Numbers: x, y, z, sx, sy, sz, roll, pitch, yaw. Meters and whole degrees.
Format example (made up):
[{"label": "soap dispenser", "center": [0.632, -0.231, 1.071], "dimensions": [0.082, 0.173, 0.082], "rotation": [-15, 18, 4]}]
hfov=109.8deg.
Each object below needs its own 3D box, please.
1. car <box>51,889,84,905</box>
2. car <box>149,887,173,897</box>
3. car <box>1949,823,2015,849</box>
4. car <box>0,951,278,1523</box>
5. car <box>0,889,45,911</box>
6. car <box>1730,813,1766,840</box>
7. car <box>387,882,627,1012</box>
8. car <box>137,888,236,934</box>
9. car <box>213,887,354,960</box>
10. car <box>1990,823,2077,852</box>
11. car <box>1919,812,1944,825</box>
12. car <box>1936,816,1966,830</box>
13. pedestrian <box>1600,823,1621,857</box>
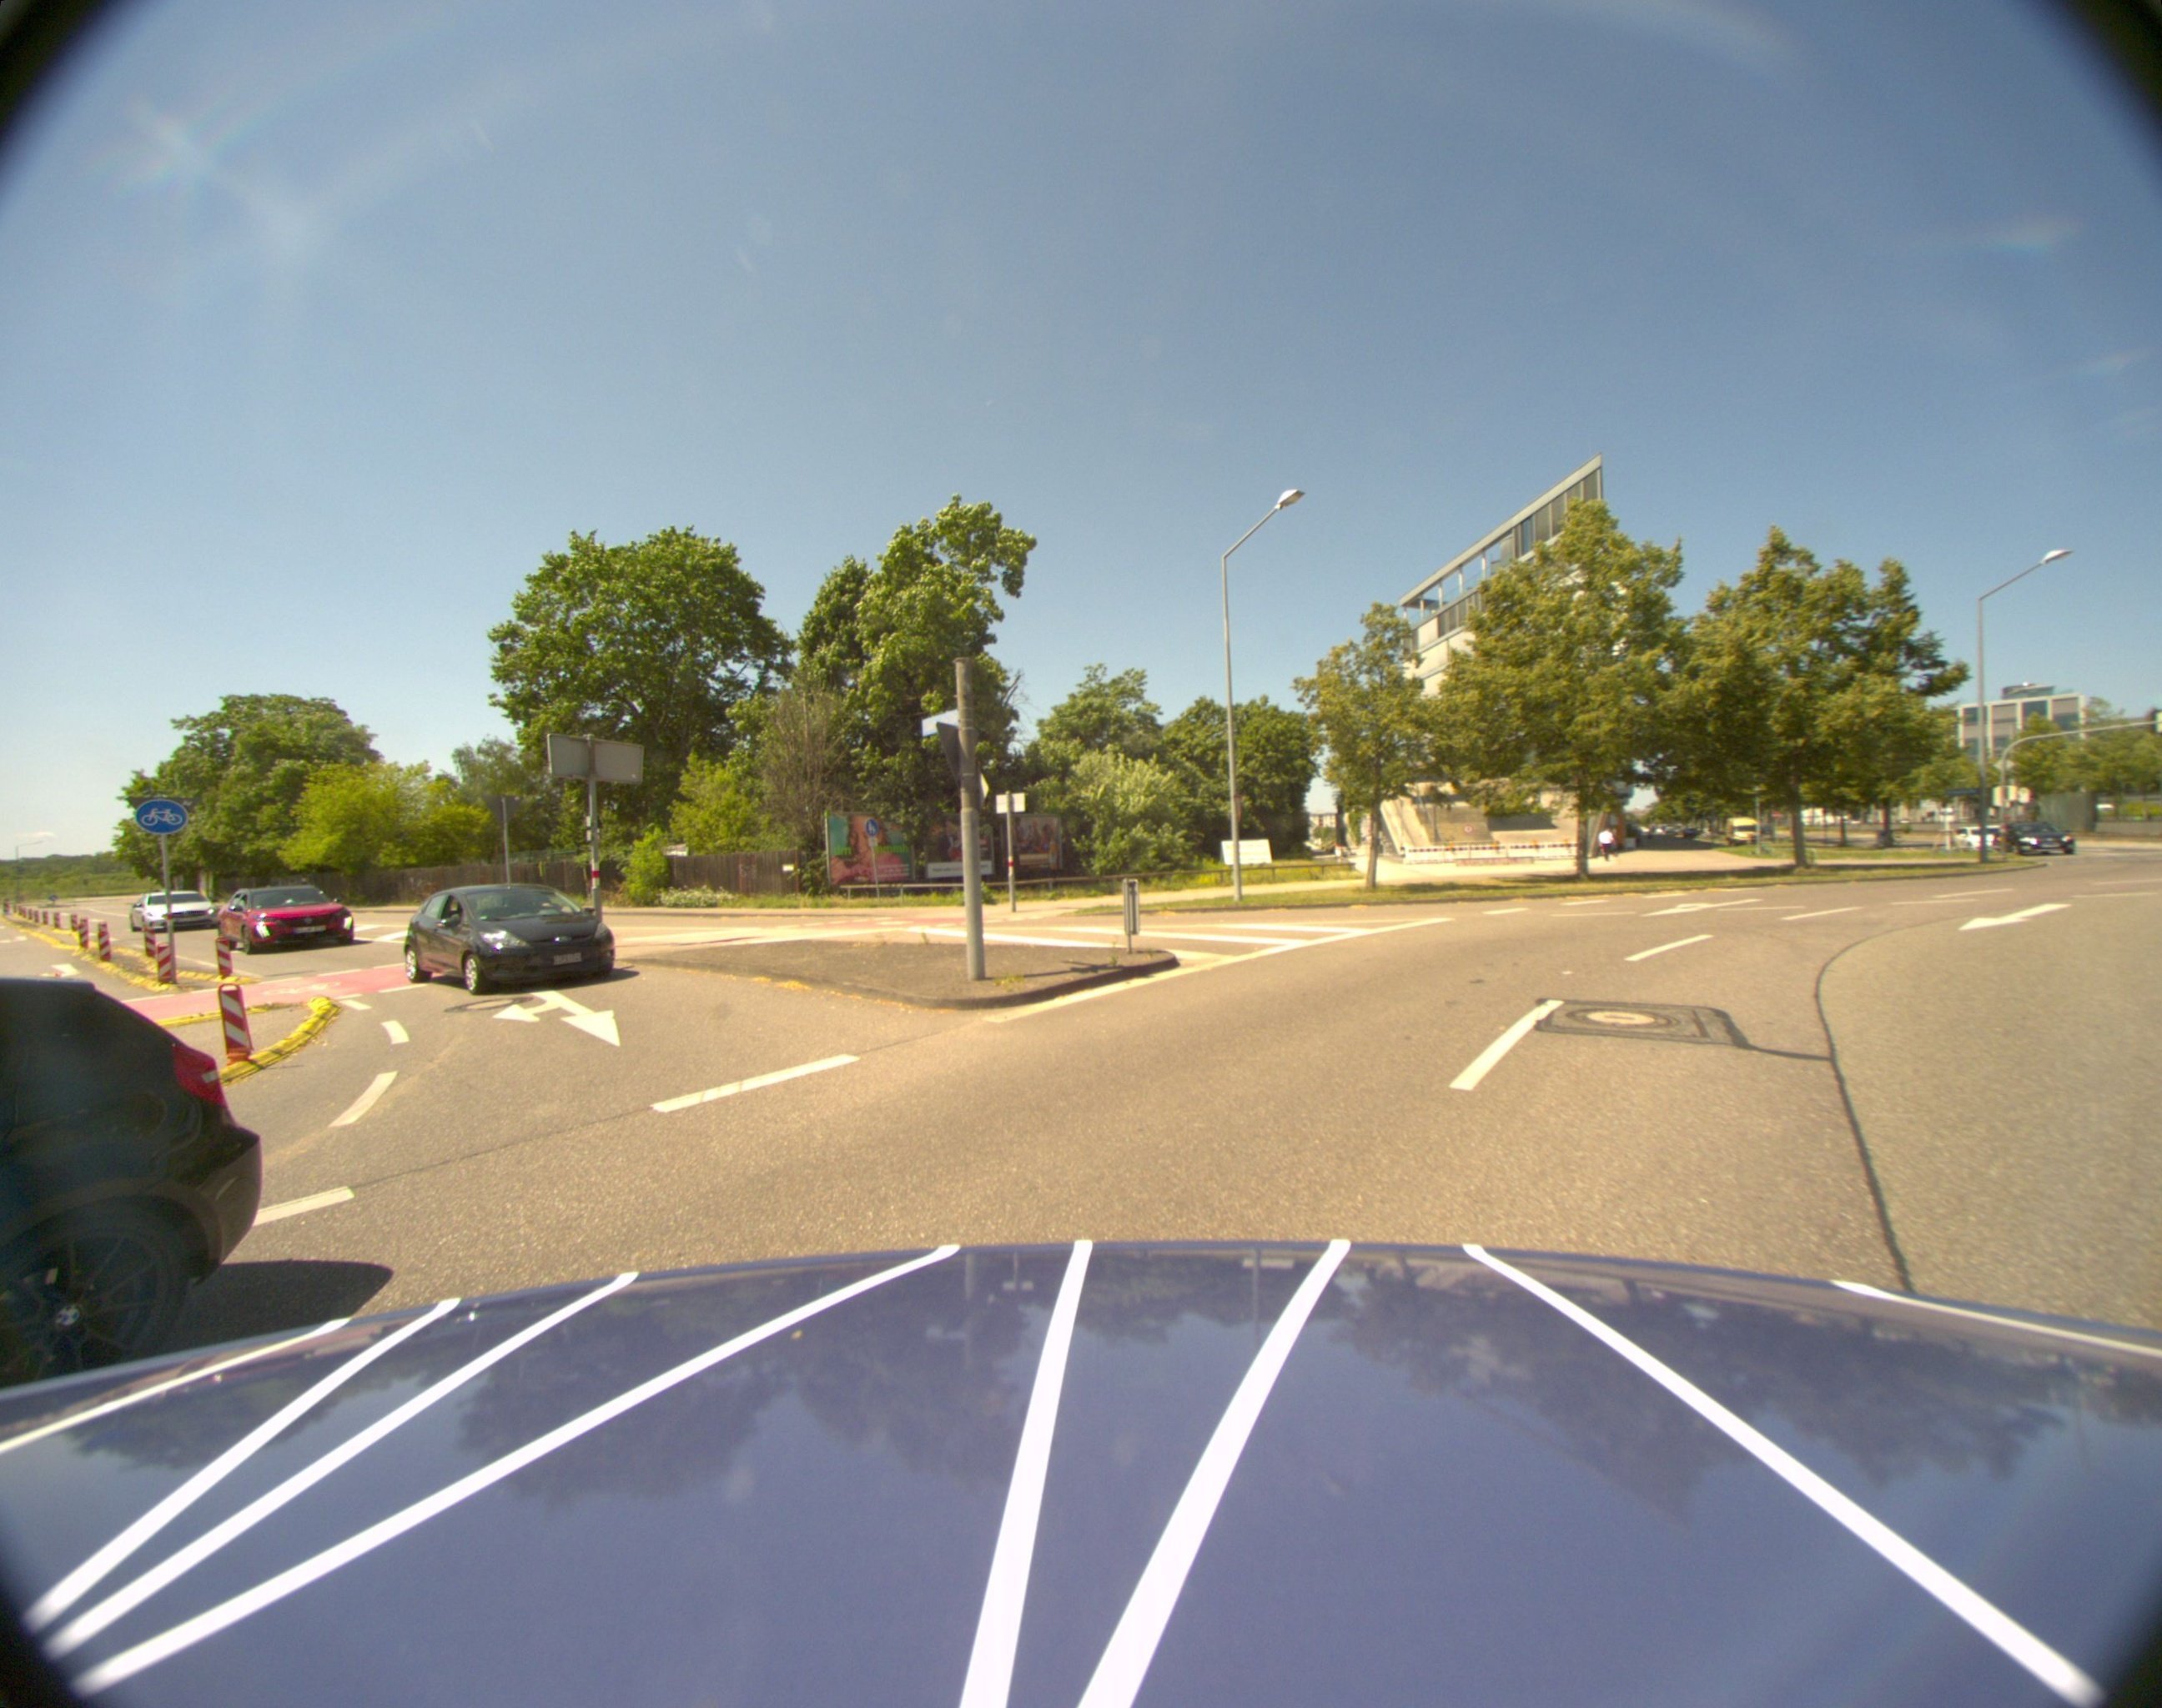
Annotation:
[{"label": "car", "center": [-107.363, 4.598, 80.477], "dimensions": [3.684, 1.536, 1.763], "rotation": [-2, 1, 32]}, {"label": "car", "center": [-146.095, 5.964, 120.589], "dimensions": [3.833, 1.455, 1.723], "rotation": [-2, 0, 29]}, {"label": "car", "center": [48.433, -0.968, 40.912], "dimensions": [1.572, 1.219, 3.328], "rotation": [-1, 3, 37]}, {"label": "car", "center": [-3.863, 1.131, 0.709], "dimensions": [1.801, 1.432, 4.000], "rotation": [-3, 1, 2]}, {"label": "car", "center": [-80.995, 3.492, 58.124], "dimensions": [3.684, 1.536, 1.763], "rotation": [-2, 1, 32]}, {"label": "car", "center": [65.716, -2.701, 74.928], "dimensions": [1.995, 2.494, 4.007], "rotation": [-2, 1, 32]}, {"label": "car", "center": [-8.479, 1.232, 11.143], "dimensions": [3.808, 1.499, 1.637], "rotation": [-2, 1, 35]}, {"label": "car", "center": [-33.219, 2.068, 28.204], "dimensions": [3.989, 1.420, 1.867], "rotation": [-2, 2, 34]}, {"label": "car", "center": [-19.805, 1.633, 18.829], "dimensions": [4.200, 1.518, 1.724], "rotation": [-2, 1, 35]}, {"label": "car", "center": [45.211, -0.796, 36.142], "dimensions": [1.736, 1.206, 3.572], "rotation": [-1, 3, 37]}, {"label": "car", "center": [138.323, -5.756, 123.569], "dimensions": [1.994, 2.003, 4.006], "rotation": [-1, 3, 37]}, {"label": "car", "center": [132.127, -4.746, 115.421], "dimensions": [1.994, 2.003, 3.908], "rotation": [-1, 3, 33]}, {"label": "pedestrian", "center": [29.169, -0.757, 41.845], "dimensions": [0.612, 1.859, 0.832], "rotation": [-5, 4, -41]}]
